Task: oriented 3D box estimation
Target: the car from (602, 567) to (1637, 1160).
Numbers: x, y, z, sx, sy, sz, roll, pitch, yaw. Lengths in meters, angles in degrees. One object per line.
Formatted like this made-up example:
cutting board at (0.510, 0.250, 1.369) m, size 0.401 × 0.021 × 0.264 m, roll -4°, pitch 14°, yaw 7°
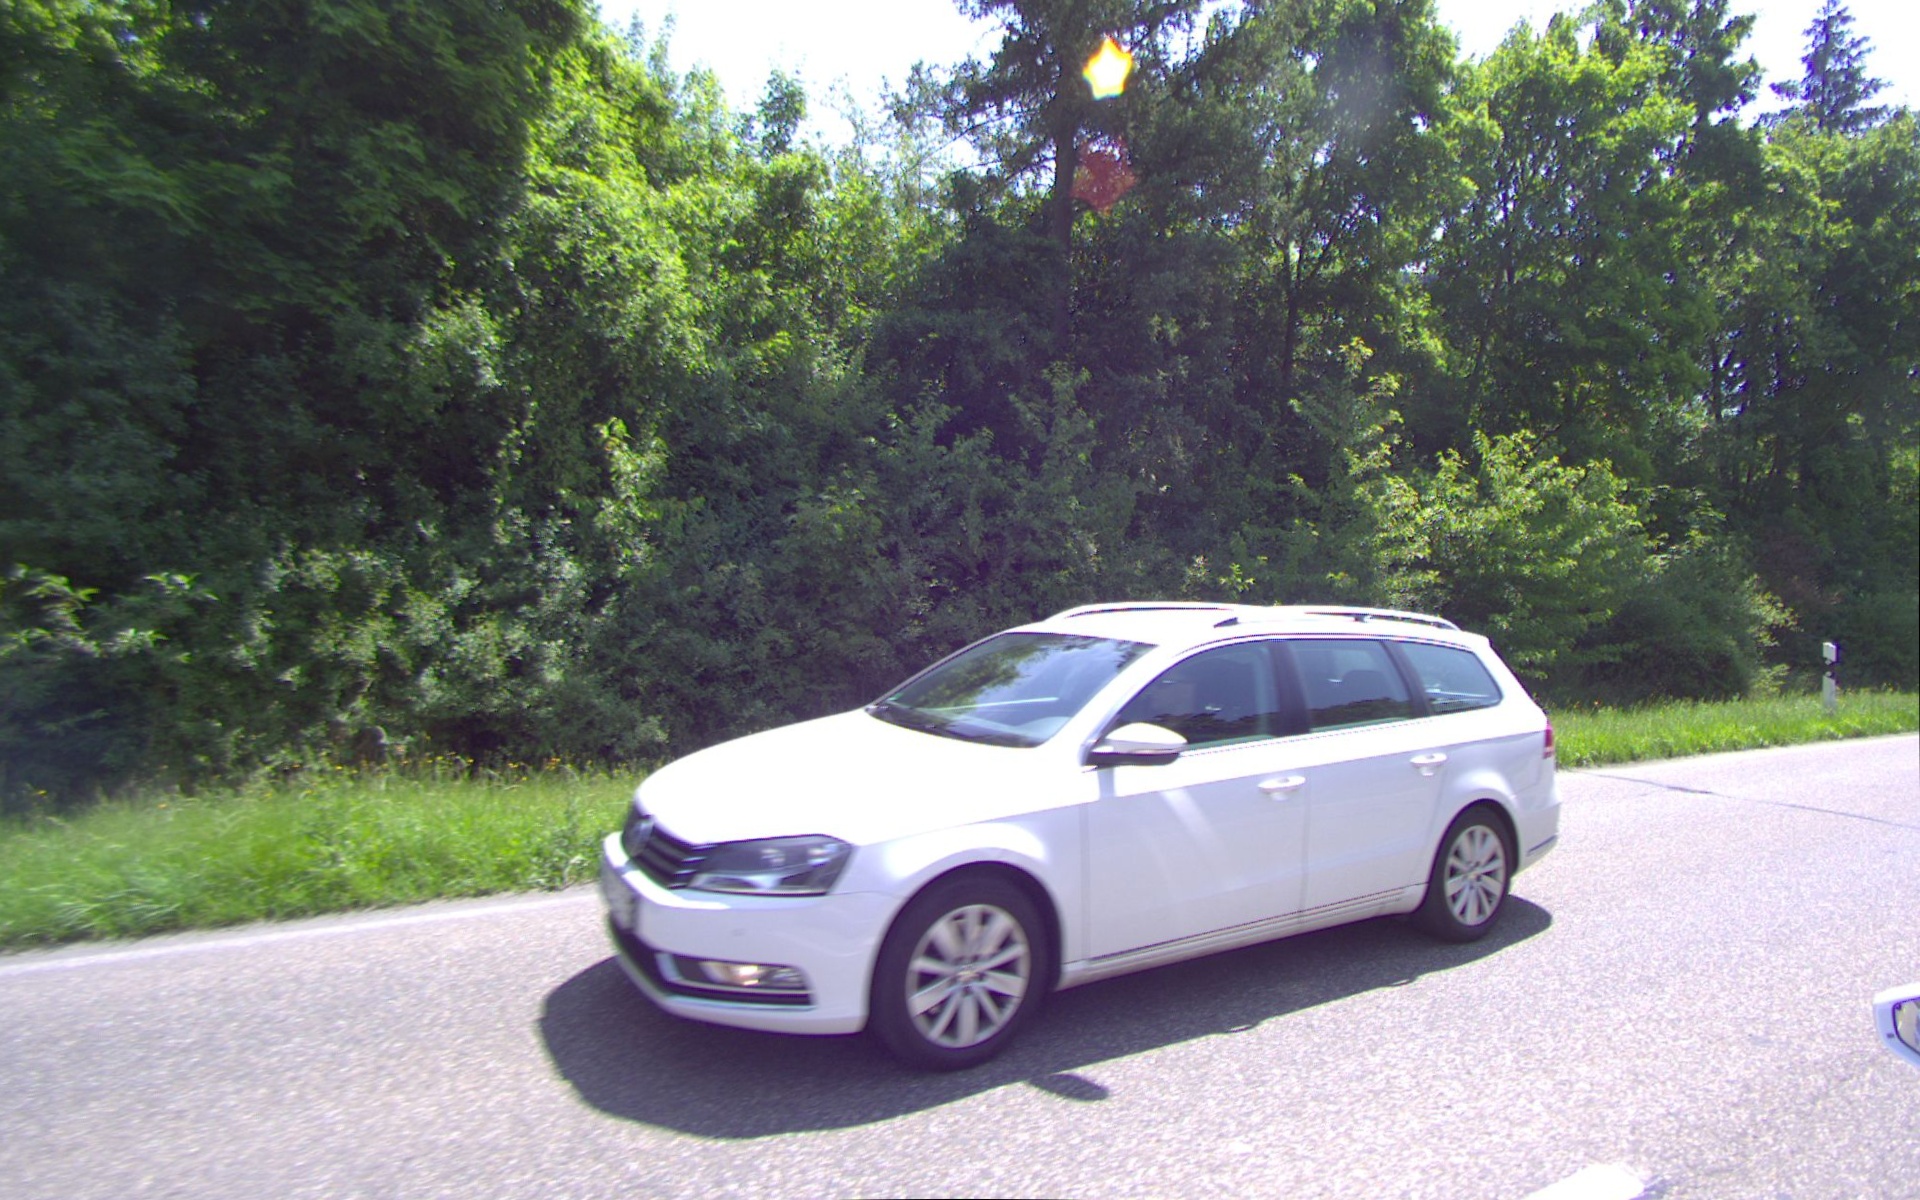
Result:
car at (0.935, 0.726, 4.616) m, size 4.604 × 1.557 × 1.830 m, roll 1°, pitch 0°, yaw -31°
